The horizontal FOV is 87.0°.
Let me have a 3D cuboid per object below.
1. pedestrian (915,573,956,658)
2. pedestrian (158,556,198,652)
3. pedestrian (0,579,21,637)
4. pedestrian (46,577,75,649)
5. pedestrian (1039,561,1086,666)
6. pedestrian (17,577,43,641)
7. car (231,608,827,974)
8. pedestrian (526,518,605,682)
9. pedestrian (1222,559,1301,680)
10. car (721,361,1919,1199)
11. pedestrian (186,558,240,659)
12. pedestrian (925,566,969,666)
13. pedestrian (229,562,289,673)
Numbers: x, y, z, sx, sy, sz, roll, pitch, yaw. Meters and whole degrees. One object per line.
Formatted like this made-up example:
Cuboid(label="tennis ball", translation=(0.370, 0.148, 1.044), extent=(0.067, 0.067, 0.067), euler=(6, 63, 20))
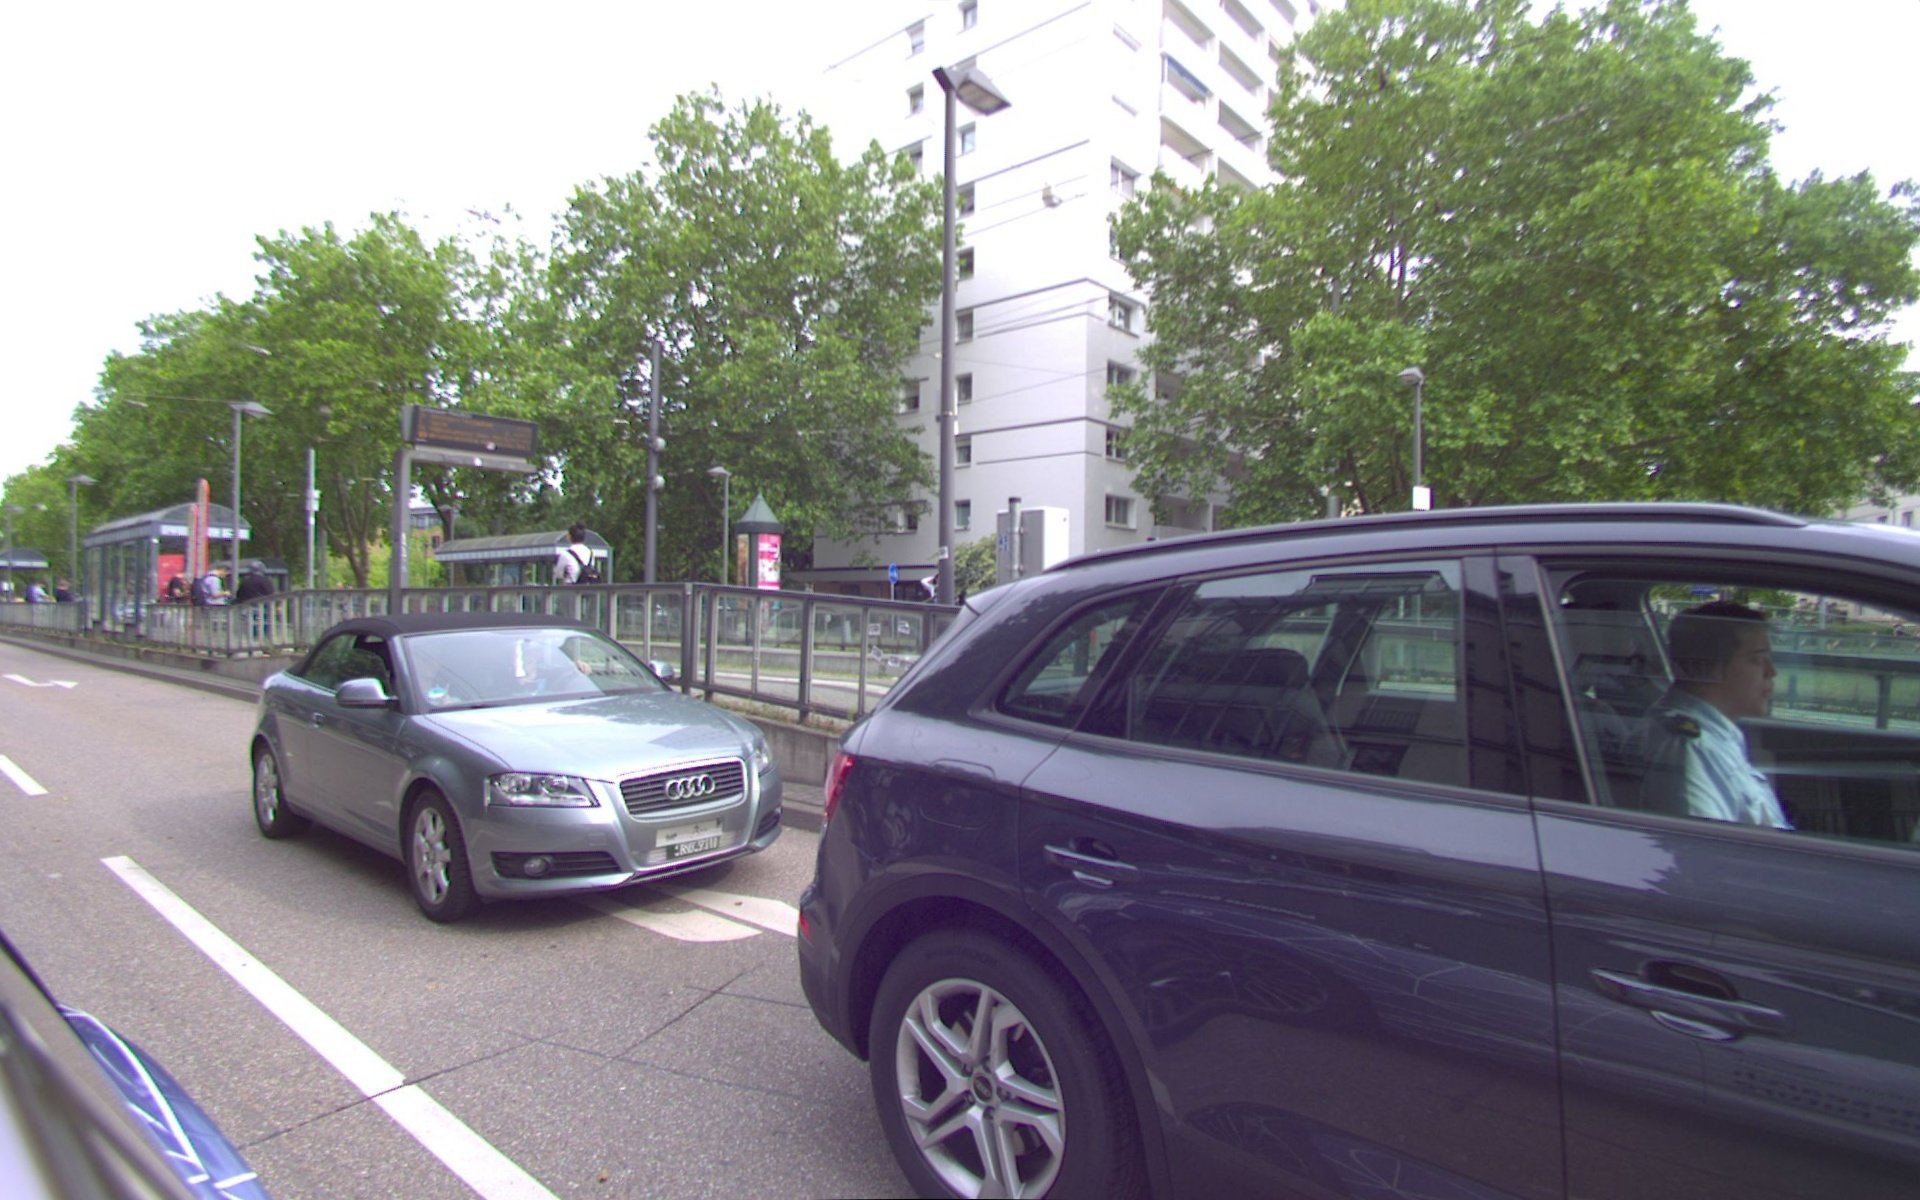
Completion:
Cuboid(label="pedestrian", translation=(-0.497, 0.302, 20.487), extent=(0.565, 1.681, 0.614), euler=(0, 0, 42))
Cuboid(label="pedestrian", translation=(-17.160, 0.089, 22.202), extent=(0.821, 2.066, 0.577), euler=(0, 0, 44))
Cuboid(label="pedestrian", translation=(-34.142, 0.288, 36.356), extent=(0.821, 2.066, 0.577), euler=(0, 0, 44))
Cuboid(label="pedestrian", translation=(-26.506, 0.371, 29.829), extent=(0.821, 2.066, 0.577), euler=(0, 0, 44))
Cuboid(label="pedestrian", translation=(1.765, 0.217, 17.421), extent=(0.548, 1.764, 0.614), euler=(0, 0, 42))
Cuboid(label="pedestrian", translation=(-30.463, 0.276, 33.164), extent=(0.821, 2.066, 0.577), euler=(0, 0, 44))
Cuboid(label="car", translation=(-2.712, 0.755, 5.869), extent=(4.012, 1.385, 1.616), euler=(0, 0, 41))
Cuboid(label="pedestrian", translation=(-4.401, 0.001, 11.295), extent=(0.534, 1.764, 0.654), euler=(0, 0, 42))
Cuboid(label="pedestrian", translation=(4.428, 0.268, 14.877), extent=(0.878, 1.708, 0.733), euler=(0, 0, 42))
Cuboid(label="car", translation=(1.613, 0.546, 1.992), extent=(4.366, 1.659, 1.892), euler=(0, 0, 41))
Cuboid(label="pedestrian", translation=(-13.821, 0.148, 18.725), extent=(0.821, 1.805, 0.674), euler=(0, 0, 44))
Cuboid(label="pedestrian", translation=(-0.246, 0.293, 18.710), extent=(0.534, 1.803, 0.614), euler=(0, 0, 42))
Cuboid(label="pedestrian", translation=(-11.622, 0.280, 16.789), extent=(0.652, 1.805, 0.535), euler=(0, 0, -9))
